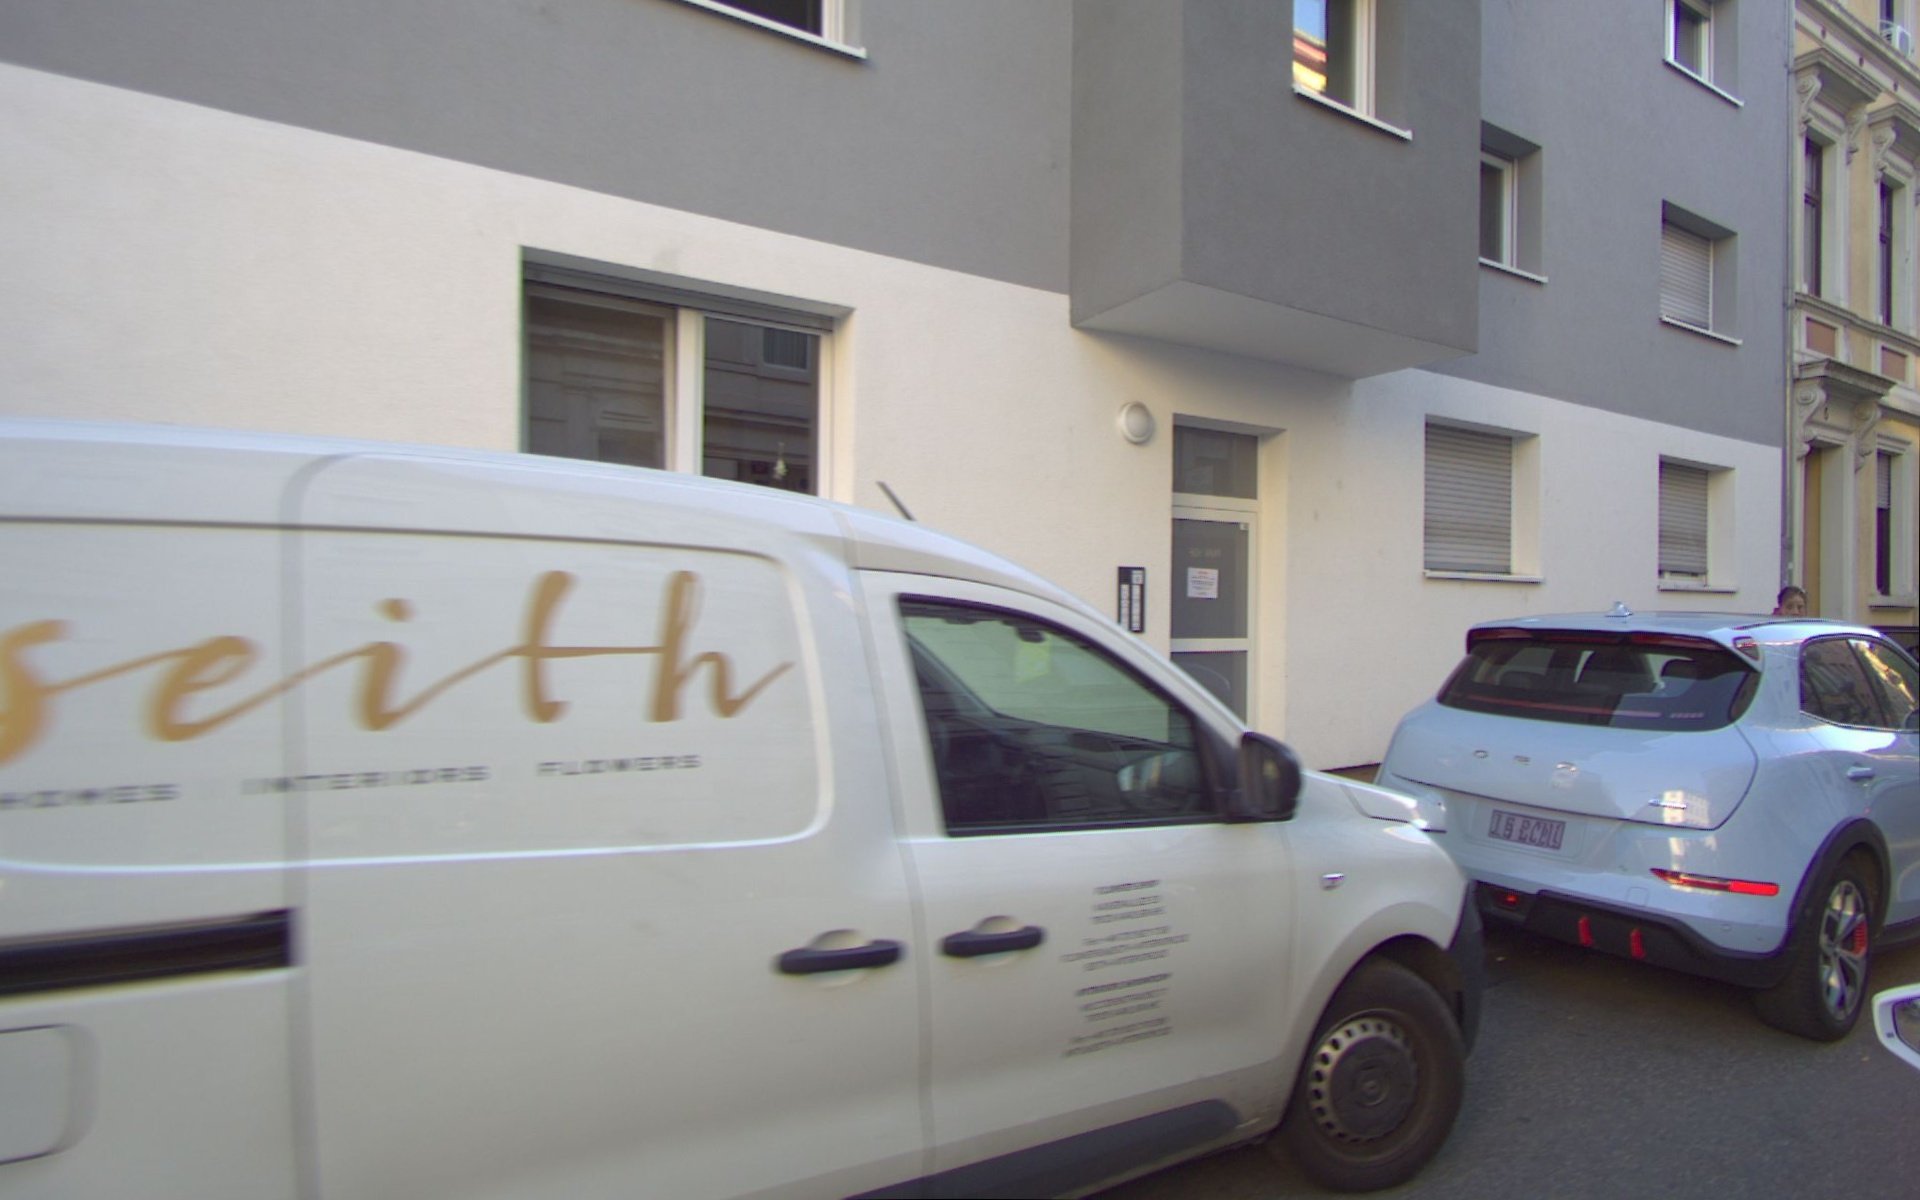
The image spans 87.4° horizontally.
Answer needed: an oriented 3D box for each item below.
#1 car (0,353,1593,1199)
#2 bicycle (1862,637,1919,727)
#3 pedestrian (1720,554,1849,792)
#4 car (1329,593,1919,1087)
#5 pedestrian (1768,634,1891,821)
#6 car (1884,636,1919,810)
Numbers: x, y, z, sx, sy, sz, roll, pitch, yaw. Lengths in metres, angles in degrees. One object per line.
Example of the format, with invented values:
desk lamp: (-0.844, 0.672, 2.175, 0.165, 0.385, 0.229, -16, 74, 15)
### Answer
car: (-0.274, 0.652, 2.620, 4.138, 1.838, 1.622, 0, -1, -32)
bicycle: (13.112, 1.090, 13.738, 2.104, 1.133, 0.531, 1, -1, -30)
pedestrian: (7.517, 0.635, 9.164, 0.769, 2.040, 0.791, 1, -1, -40)
car: (3.978, 0.772, 5.201, 4.322, 1.584, 1.752, 0, 0, -35)
pedestrian: (7.070, 0.996, 8.199, 0.650, 1.429, 0.671, 0, -1, 32)
car: (9.515, 1.002, 8.325, 4.084, 1.350, 1.675, 2, -1, -31)
